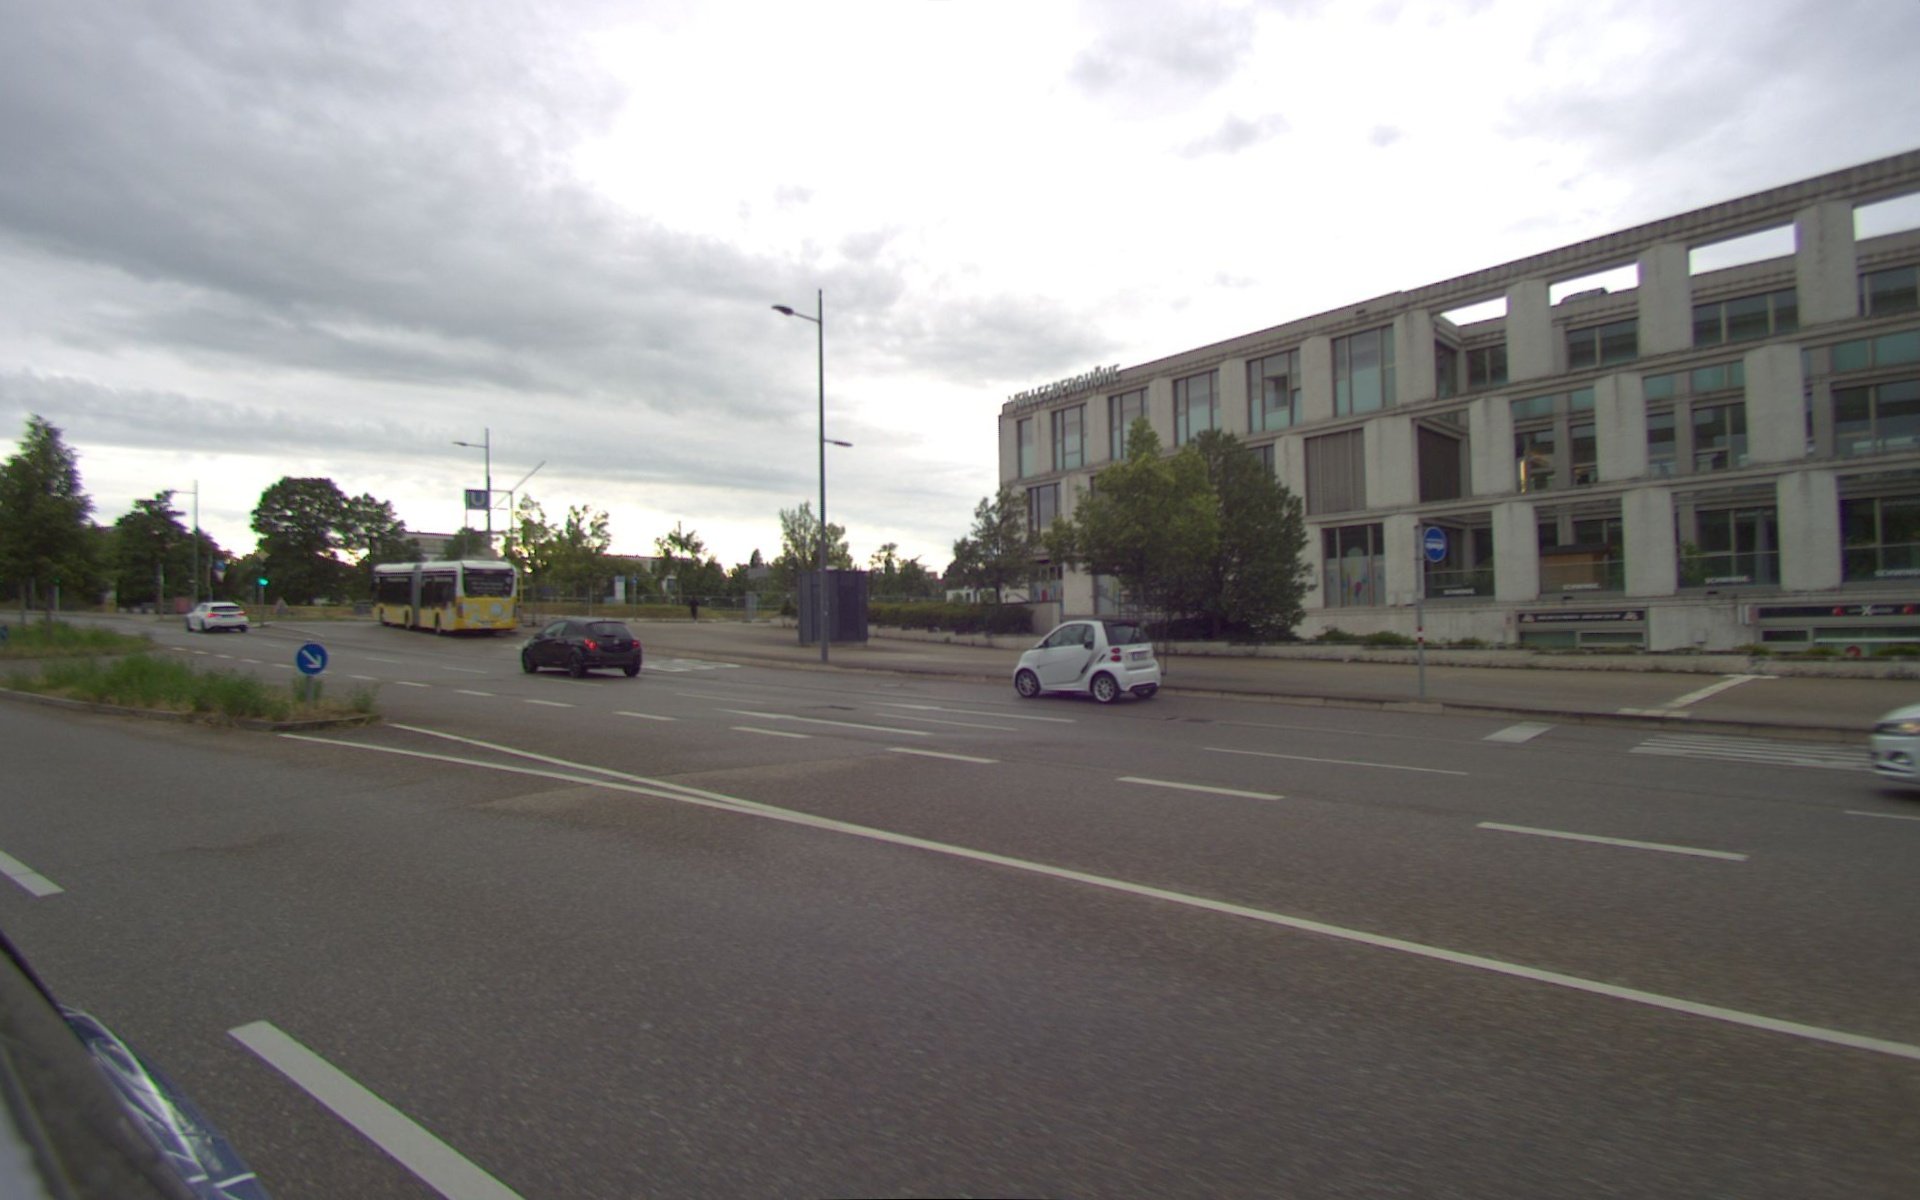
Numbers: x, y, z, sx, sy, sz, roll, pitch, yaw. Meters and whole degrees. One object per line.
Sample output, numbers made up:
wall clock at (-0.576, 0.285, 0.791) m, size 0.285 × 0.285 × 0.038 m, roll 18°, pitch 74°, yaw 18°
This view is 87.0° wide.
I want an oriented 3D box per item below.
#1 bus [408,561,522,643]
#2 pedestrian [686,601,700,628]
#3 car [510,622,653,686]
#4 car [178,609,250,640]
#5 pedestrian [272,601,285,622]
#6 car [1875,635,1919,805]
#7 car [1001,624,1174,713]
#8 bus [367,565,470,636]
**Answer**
bus at (-23.294, 0.029, 47.403) m, size 2.786 × 3.498 × 8.244 m, roll -1°, pitch 1°, yaw -41°
pedestrian at (-15.589, 0.863, 59.129) m, size 0.664 × 1.541 × 0.485 m, roll -3°, pitch -2°, yaw 37°
car at (-9.664, 1.325, 25.726) m, size 3.866 × 1.473 × 1.827 m, roll -1°, pitch -2°, yaw 42°
car at (-36.531, 1.170, 49.530) m, size 4.512 × 1.429 × 1.972 m, roll -1°, pitch -1°, yaw 42°
pedestrian at (-52.147, 0.883, 77.455) m, size 0.811 × 1.606 × 0.608 m, roll -3°, pitch -2°, yaw 37°
car at (10.173, 1.059, 8.111) m, size 4.175 × 1.441 × 1.853 m, roll -1°, pitch -4°, yaw 42°
car at (2.456, 1.266, 19.739) m, size 2.972 × 1.519 × 1.596 m, roll -1°, pitch 0°, yaw 42°
bus at (-29.221, -0.033, 54.345) m, size 2.786 × 3.498 × 9.990 m, roll -1°, pitch 1°, yaw -41°
